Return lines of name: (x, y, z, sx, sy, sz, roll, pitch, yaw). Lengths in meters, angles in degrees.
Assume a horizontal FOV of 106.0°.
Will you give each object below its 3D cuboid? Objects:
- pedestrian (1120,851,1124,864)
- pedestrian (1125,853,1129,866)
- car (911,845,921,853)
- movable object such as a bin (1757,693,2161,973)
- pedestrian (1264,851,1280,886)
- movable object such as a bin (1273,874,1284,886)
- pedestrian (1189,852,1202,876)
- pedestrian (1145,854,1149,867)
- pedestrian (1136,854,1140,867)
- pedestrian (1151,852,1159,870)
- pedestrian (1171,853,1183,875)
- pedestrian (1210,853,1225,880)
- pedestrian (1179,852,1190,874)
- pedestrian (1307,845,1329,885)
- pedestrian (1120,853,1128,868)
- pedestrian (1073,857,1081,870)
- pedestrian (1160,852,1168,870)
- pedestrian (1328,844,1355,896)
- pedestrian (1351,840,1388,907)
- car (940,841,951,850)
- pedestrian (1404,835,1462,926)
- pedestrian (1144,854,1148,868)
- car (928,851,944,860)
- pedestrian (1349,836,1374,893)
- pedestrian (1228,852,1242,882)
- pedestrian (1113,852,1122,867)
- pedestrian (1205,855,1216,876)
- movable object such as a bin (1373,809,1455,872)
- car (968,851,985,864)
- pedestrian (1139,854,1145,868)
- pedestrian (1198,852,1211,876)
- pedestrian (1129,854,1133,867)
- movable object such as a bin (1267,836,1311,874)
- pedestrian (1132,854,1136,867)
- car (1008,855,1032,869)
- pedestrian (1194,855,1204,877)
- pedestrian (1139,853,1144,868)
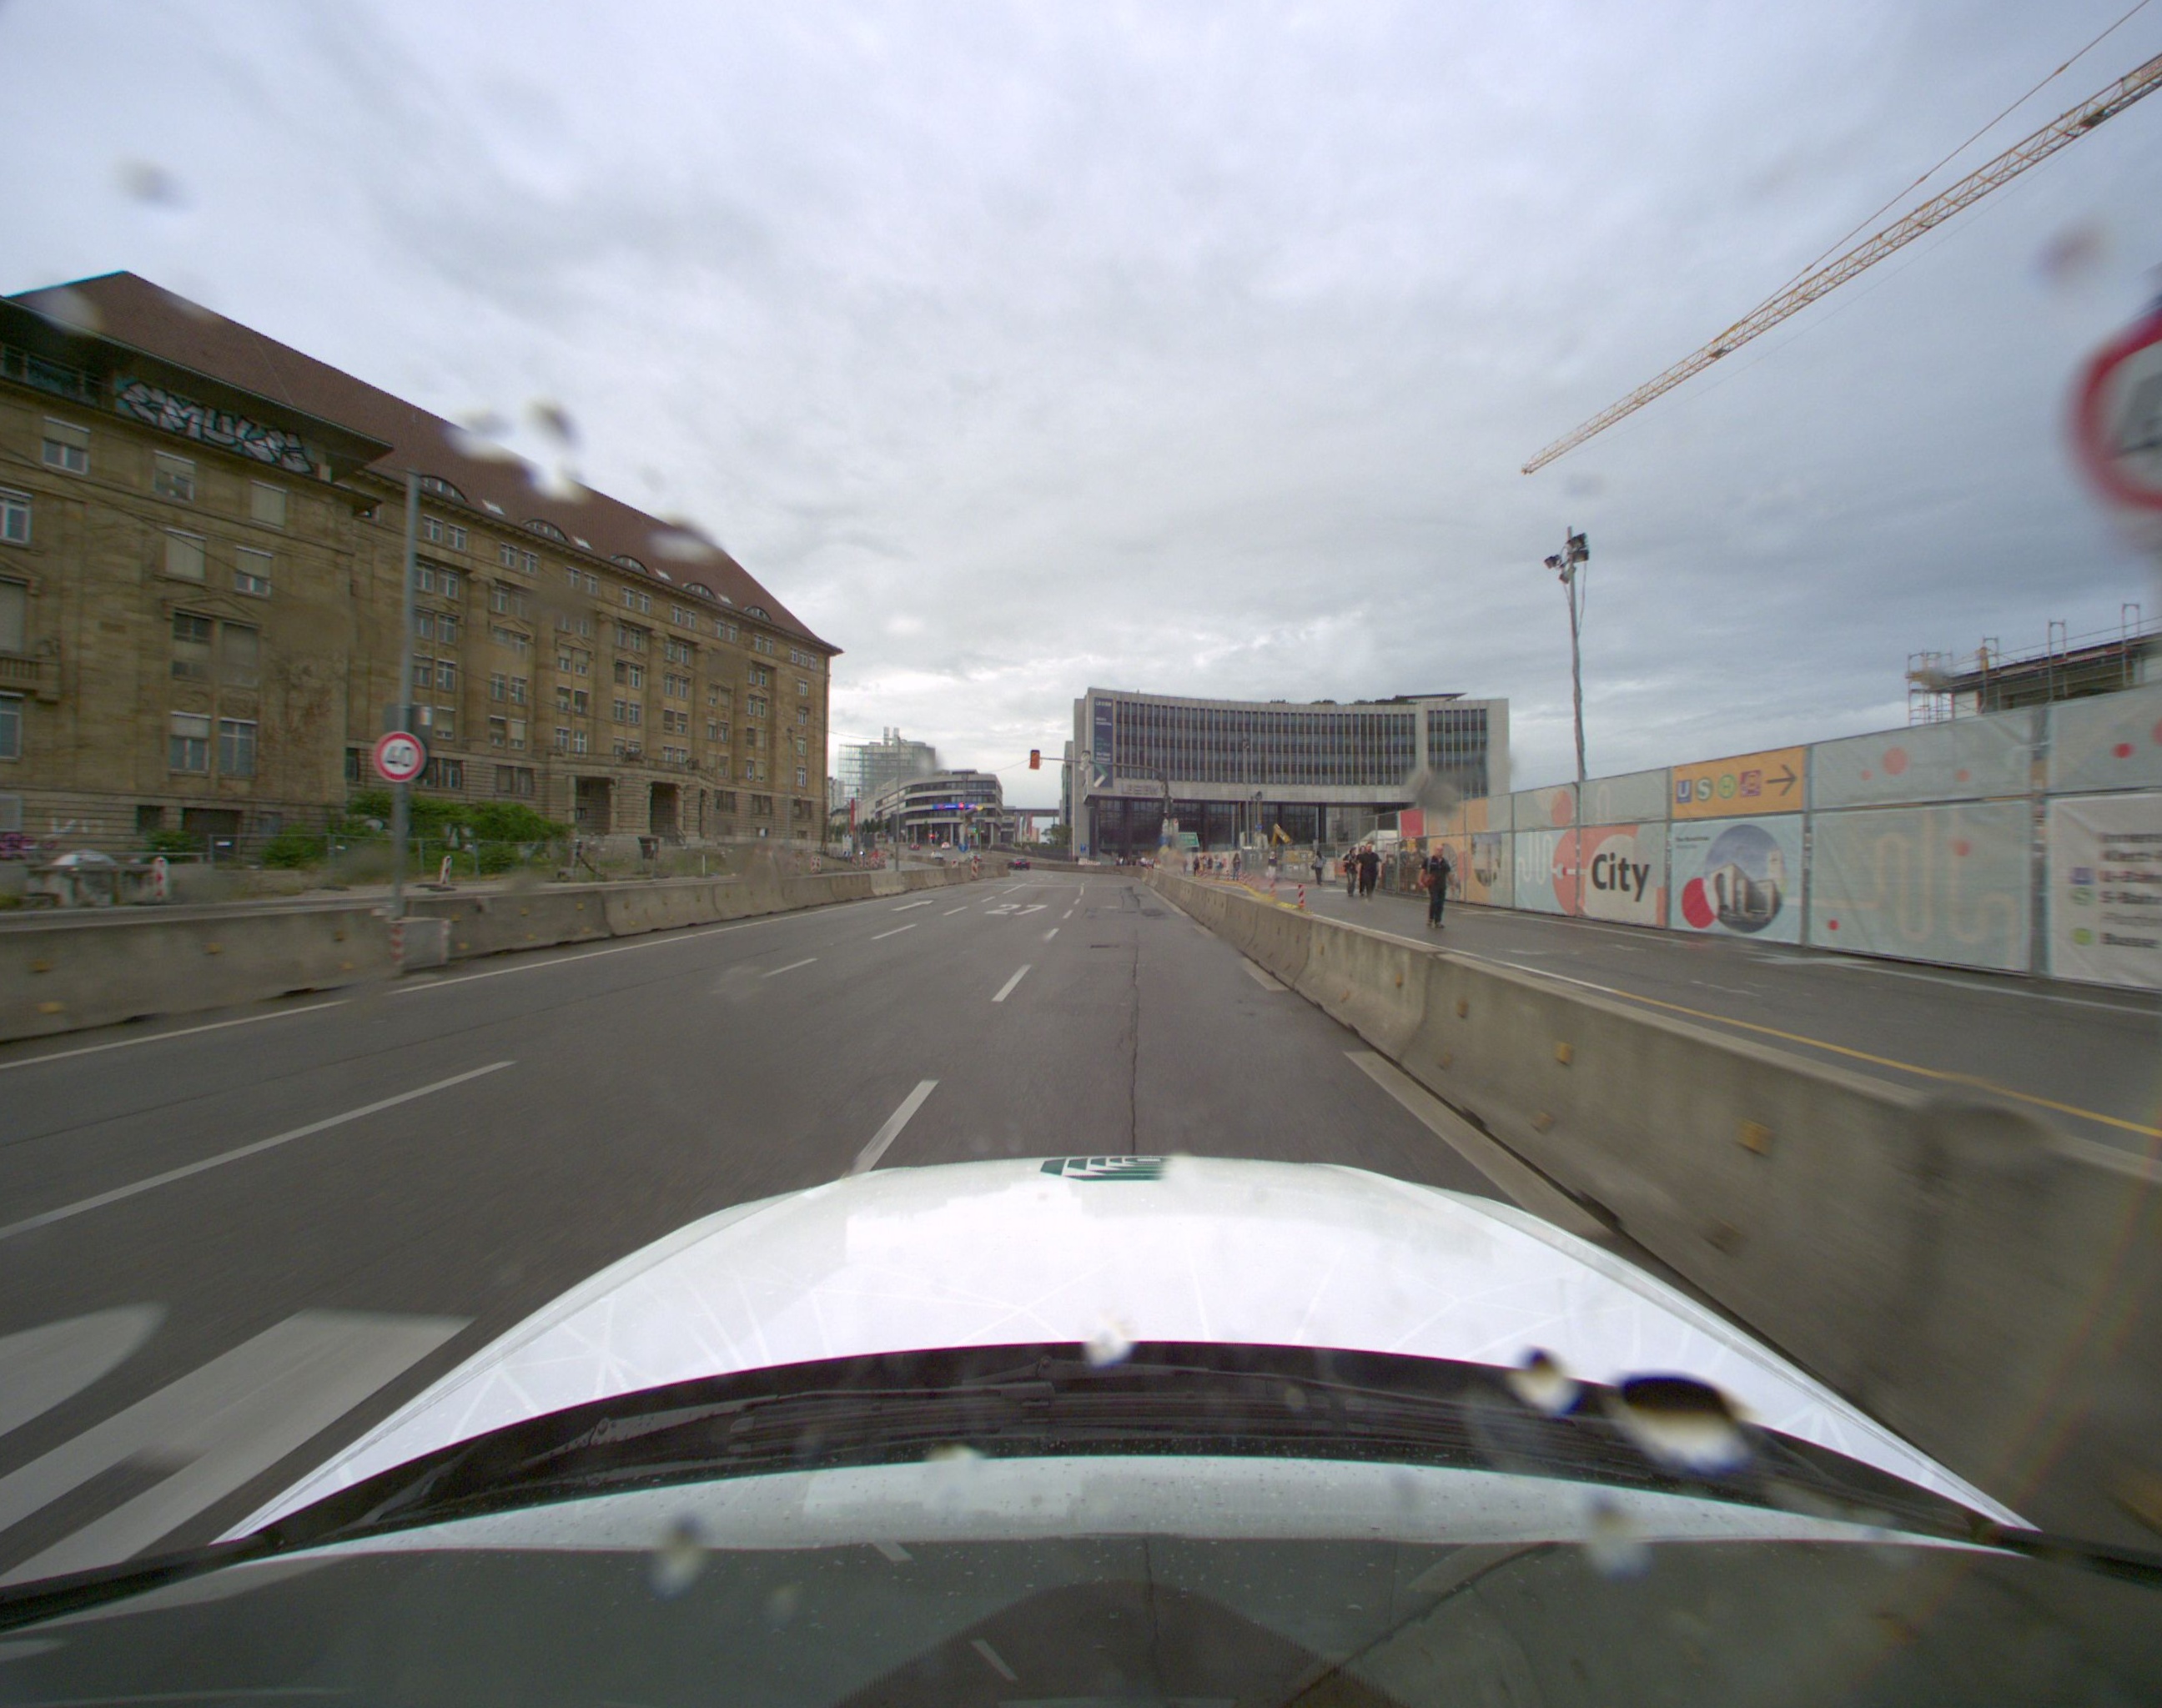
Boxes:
pedestrian: (5.421, 0.496, 107.939, 0.447, 1.705, 0.646, 0, 0, -4)
pedestrian: (6.080, 0.780, 108.189, 0.452, 1.705, 0.646, 0, 0, -4)
car: (-35.585, -1.084, 175.344, 1.996, 1.804, 4.247, 0, 0, -13)
movable object such as a bin: (14.044, -0.279, 12.381, 3.916, 3.492, 4.355, -1, 0, 0)
pedestrian: (10.173, 0.770, 43.476, 0.663, 1.862, 0.682, 0, 0, -3)
movable object such as a bin: (10.652, 1.378, 43.843, 0.432, 0.624, 0.534, 0, 0, -3)
pedestrian: (8.806, 0.747, 62.577, 0.868, 1.862, 0.948, 0, 0, -3)
pedestrian: (8.527, 0.860, 104.614, 0.447, 1.705, 0.646, 1, 0, 0)
pedestrian: (7.219, 0.848, 103.490, 0.445, 1.705, 0.648, 1, 0, 9)
pedestrian: (8.321, 0.827, 91.648, 0.780, 2.013, 0.865, 1, 0, 7)
pedestrian: (8.270, 0.842, 70.264, 0.817, 1.827, 1.110, -1, -1, -2)
pedestrian: (9.361, 0.841, 55.902, 0.777, 1.862, 0.948, 0, 0, -3)
pedestrian: (9.028, 0.783, 71.154, 0.777, 1.862, 0.810, 0, 0, -3)
pedestrian: (11.180, 0.523, 38.427, 0.785, 1.862, 0.682, 0, 0, -3)
pedestrian: (4.675, 0.667, 88.360, 0.659, 1.642, 0.820, 0, 0, -11)
pedestrian: (-0.583, 1.367, 113.855, 0.759, 1.790, 1.050, 1, -1, -20)
pedestrian: (9.330, 0.787, 91.514, 0.780, 2.013, 0.865, 1, 0, 7)
pedestrian: (9.273, 0.554, 29.043, 0.793, 1.834, 0.626, 0, -1, 2)
pedestrian: (8.212, 0.548, 23.196, 0.793, 1.878, 0.820, 0, -1, 3)
car: (-29.863, -1.833, 179.522, 1.996, 1.804, 4.247, 0, 0, -13)
pedestrian: (7.277, 0.544, 16.847, 0.921, 1.834, 0.687, 0, -1, 2)
pedestrian: (8.528, 0.923, 106.807, 0.498, 1.705, 0.732, 1, 0, -1)
car: (-23.530, 0.261, 131.847, 1.749, 1.506, 3.723, 1, -1, -24)
pedestrian: (10.038, 0.355, 29.109, 0.676, 2.013, 0.687, 0, 1, 2)
pedestrian: (9.851, 0.828, 52.161, 0.688, 1.862, 0.810, 0, 0, -3)
pedestrian: (3.978, 0.629, 88.203, 0.751, 1.642, 0.820, 0, 0, -11)
pedestrian: (11.315, 0.982, 71.146, 0.777, 1.862, 0.810, -1, 0, -3)
movable object such as a bin: (19.498, -0.733, 48.064, 3.900, 3.492, 4.372, -1, 0, 14)
car: (-15.370, 0.498, 119.663, 1.744, 1.875, 3.754, 0, 0, -18)
pedestrian: (7.627, 0.903, 101.892, 0.515, 1.705, 0.568, 0, 0, -37)
pedestrian: (9.706, 0.776, 64.060, 0.777, 1.862, 1.057, 0, 0, -3)
pedestrian: (6.649, 0.847, 108.246, 0.447, 1.705, 0.646, 0, 0, -4)
movable object such as a bin: (22.874, 0.145, 89.754, 3.099, 4.030, 3.669, 1, -1, -22)
pedestrian: (6.799, 0.842, 103.923, 0.445, 1.705, 0.648, 1, 0, 7)
car: (-7.279, 0.918, 96.584, 1.681, 1.508, 3.716, 1, -3, -23)
pedestrian: (9.966, 1.013, 68.808, 0.730, 1.854, 0.831, 0, -1, -1)
pedestrian: (7.413, 0.784, 100.322, 0.527, 1.818, 0.536, 1, 0, 0)
